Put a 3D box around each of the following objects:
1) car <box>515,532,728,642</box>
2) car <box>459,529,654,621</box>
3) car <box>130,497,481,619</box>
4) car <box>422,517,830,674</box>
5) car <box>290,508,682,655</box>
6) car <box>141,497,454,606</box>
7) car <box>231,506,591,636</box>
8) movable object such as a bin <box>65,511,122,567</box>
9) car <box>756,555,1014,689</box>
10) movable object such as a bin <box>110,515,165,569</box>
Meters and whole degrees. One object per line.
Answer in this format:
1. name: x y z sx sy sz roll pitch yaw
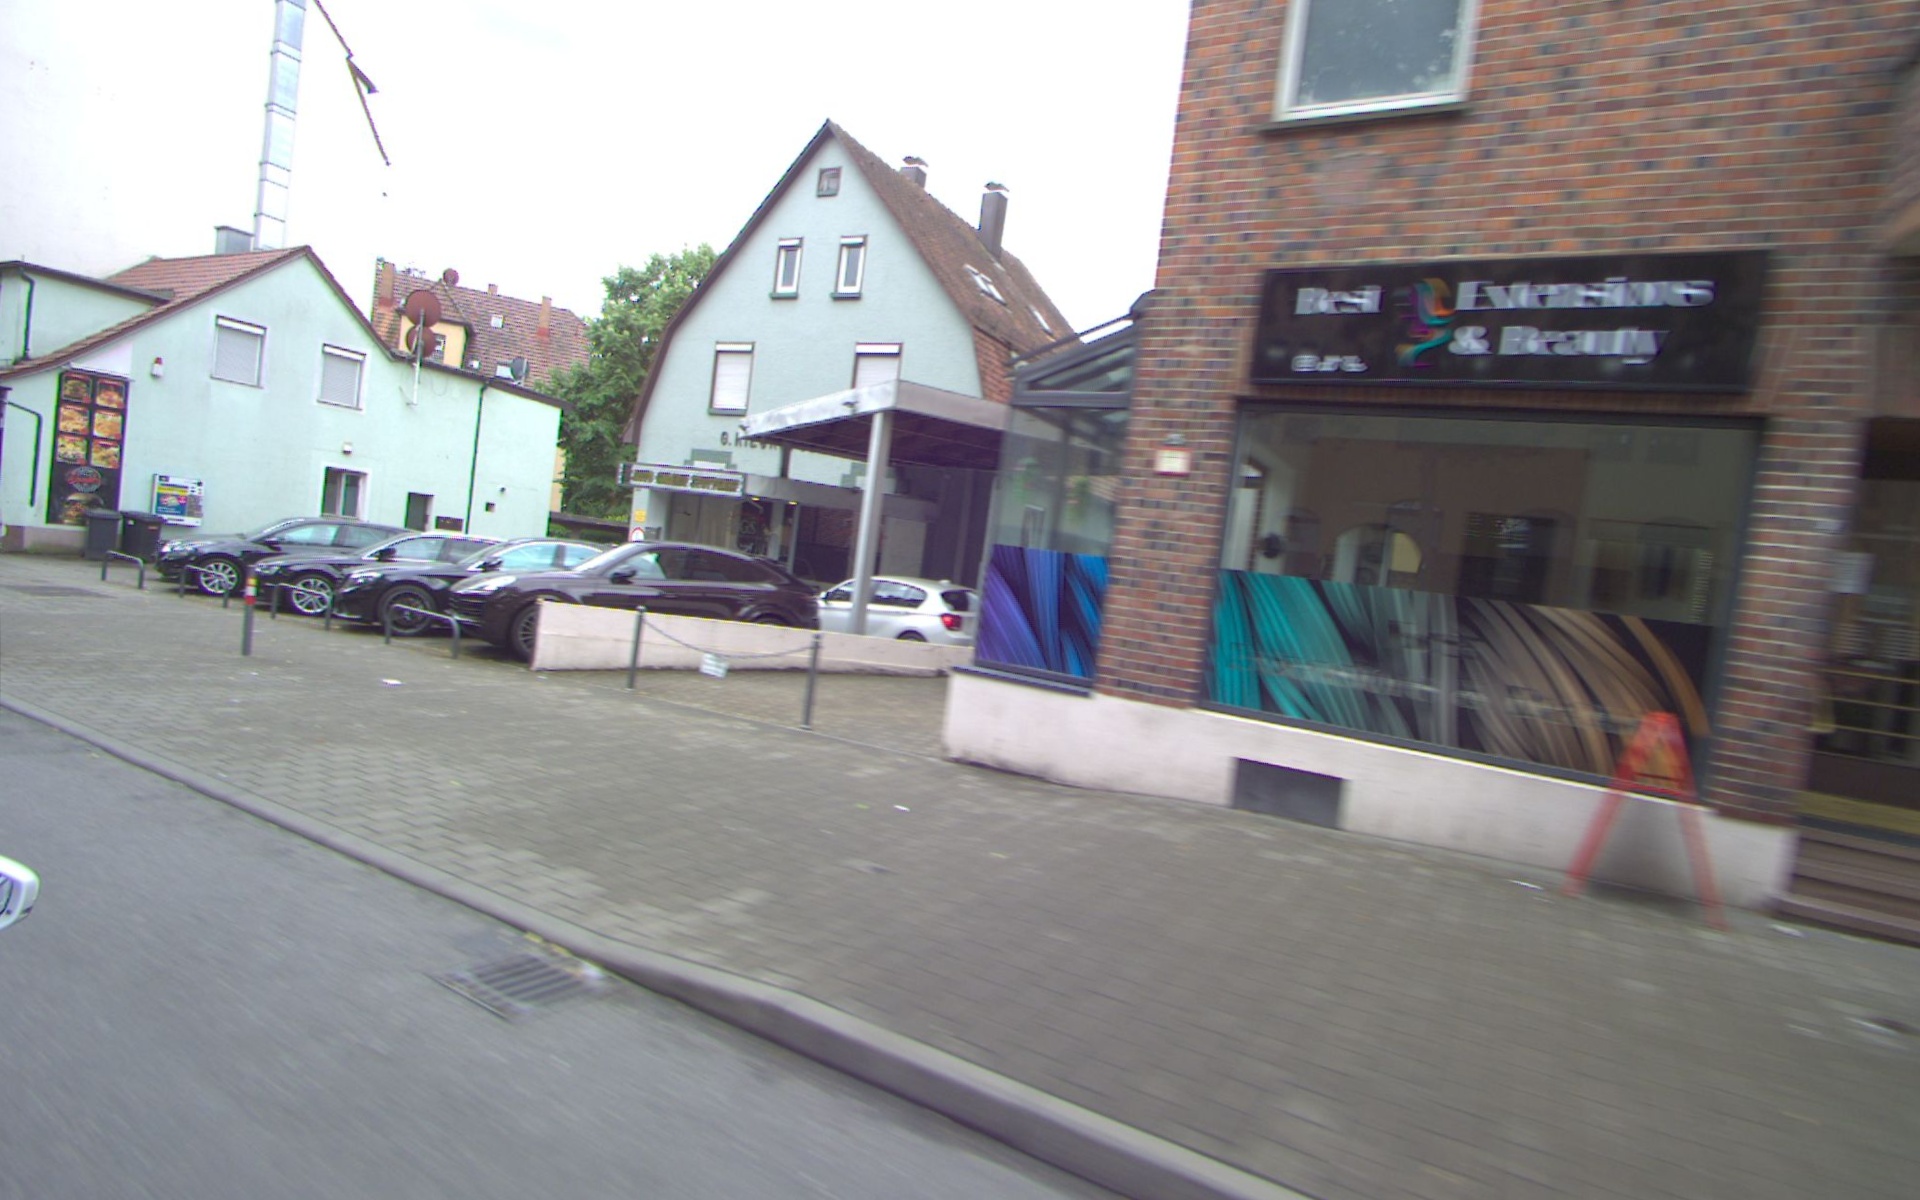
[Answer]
1. car: -6.600 -0.265 19.532 3.825 1.686 1.714 7 1 30
2. car: -9.539 -0.570 23.951 3.816 1.686 1.718 7 1 6
3. car: -11.303 -0.686 17.766 4.868 1.488 1.912 6 1 -33
4. car: -4.436 -0.022 13.621 4.863 1.696 1.983 4 3 -32
5. car: -6.865 -0.226 14.890 4.865 1.560 1.984 6 1 -31
6. car: -12.847 -0.900 19.739 4.878 1.488 1.908 6 1 -39
7. car: -8.855 -0.422 16.506 4.871 1.512 1.838 6 1 -35
8. movable object such as a bin: -18.232 -1.284 21.180 0.634 1.055 0.698 7 2 32
9. car: -1.270 0.333 16.575 3.825 1.686 1.714 7 1 30
10. movable object such as a bin: -17.844 -1.254 21.818 0.634 1.055 0.698 7 2 32
